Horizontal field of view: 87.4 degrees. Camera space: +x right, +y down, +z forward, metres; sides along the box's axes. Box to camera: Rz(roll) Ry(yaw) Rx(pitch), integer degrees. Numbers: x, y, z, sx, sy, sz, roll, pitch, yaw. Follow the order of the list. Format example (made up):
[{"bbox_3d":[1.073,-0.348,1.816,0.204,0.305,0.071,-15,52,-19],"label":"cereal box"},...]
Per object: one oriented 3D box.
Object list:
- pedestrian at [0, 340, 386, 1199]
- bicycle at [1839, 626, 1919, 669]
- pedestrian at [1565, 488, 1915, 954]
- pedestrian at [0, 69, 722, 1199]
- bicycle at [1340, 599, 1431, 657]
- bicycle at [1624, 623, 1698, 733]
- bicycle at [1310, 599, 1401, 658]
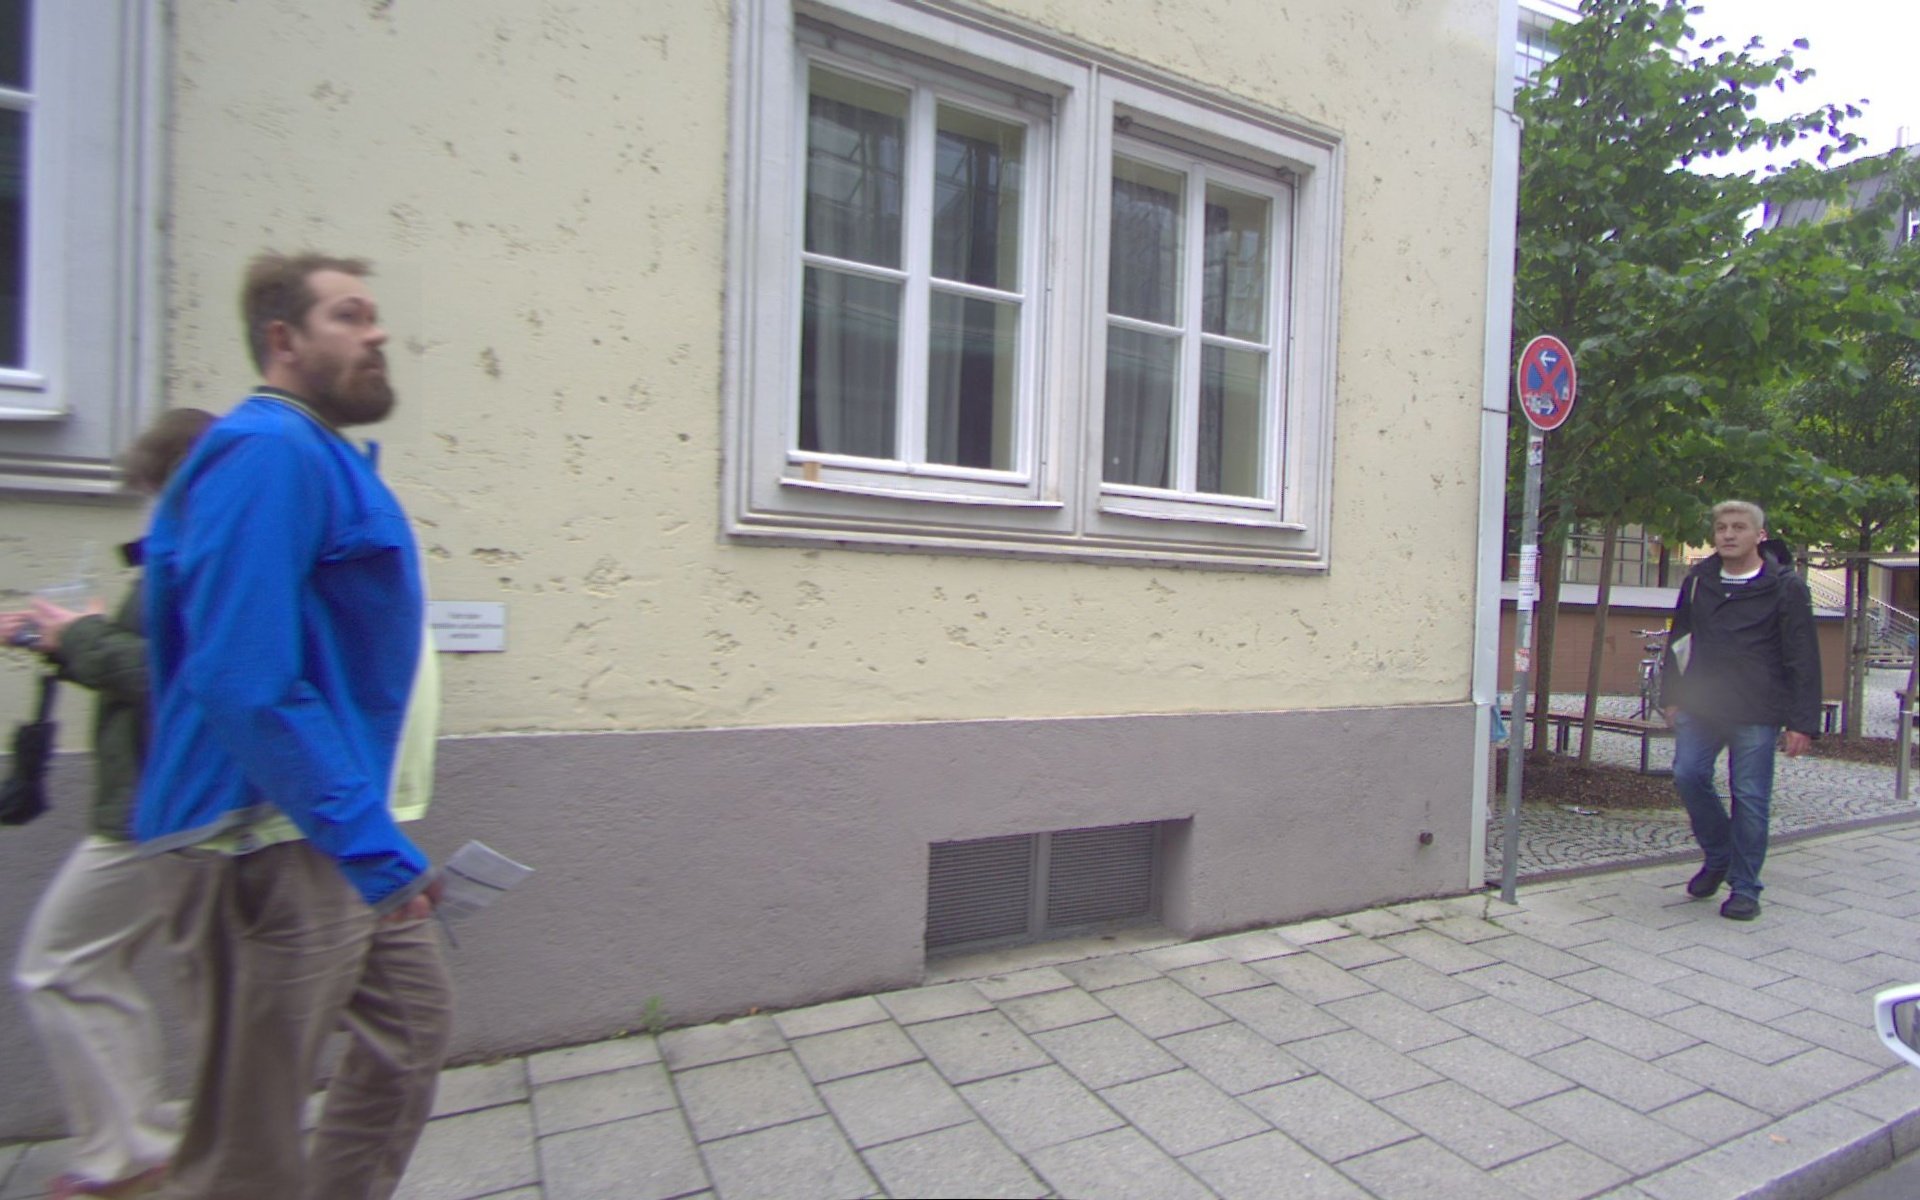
[{"bbox_3d":[-1.668,0.393,2.140,0.715,1.699,0.644,2,1,-29],"label":"pedestrian"},{"bbox_3d":[25.801,1.322,28.124,0.589,1.083,1.652,2,2,-23],"label":"bicycle"},{"bbox_3d":[3.665,0.499,4.749,1.121,1.907,0.864,2,1,-29],"label":"pedestrian"},{"bbox_3d":[-1.023,0.354,1.572,1.063,1.879,0.754,2,2,-28],"label":"pedestrian"},{"bbox_3d":[9.403,0.594,22.286,0.643,1.176,1.985,1,1,-21],"label":"bicycle"},{"bbox_3d":[8.638,0.916,12.352,0.543,1.214,1.829,3,2,40],"label":"bicycle"},{"bbox_3d":[8.594,0.596,21.939,0.643,1.176,1.985,1,1,-21],"label":"bicycle"}]
